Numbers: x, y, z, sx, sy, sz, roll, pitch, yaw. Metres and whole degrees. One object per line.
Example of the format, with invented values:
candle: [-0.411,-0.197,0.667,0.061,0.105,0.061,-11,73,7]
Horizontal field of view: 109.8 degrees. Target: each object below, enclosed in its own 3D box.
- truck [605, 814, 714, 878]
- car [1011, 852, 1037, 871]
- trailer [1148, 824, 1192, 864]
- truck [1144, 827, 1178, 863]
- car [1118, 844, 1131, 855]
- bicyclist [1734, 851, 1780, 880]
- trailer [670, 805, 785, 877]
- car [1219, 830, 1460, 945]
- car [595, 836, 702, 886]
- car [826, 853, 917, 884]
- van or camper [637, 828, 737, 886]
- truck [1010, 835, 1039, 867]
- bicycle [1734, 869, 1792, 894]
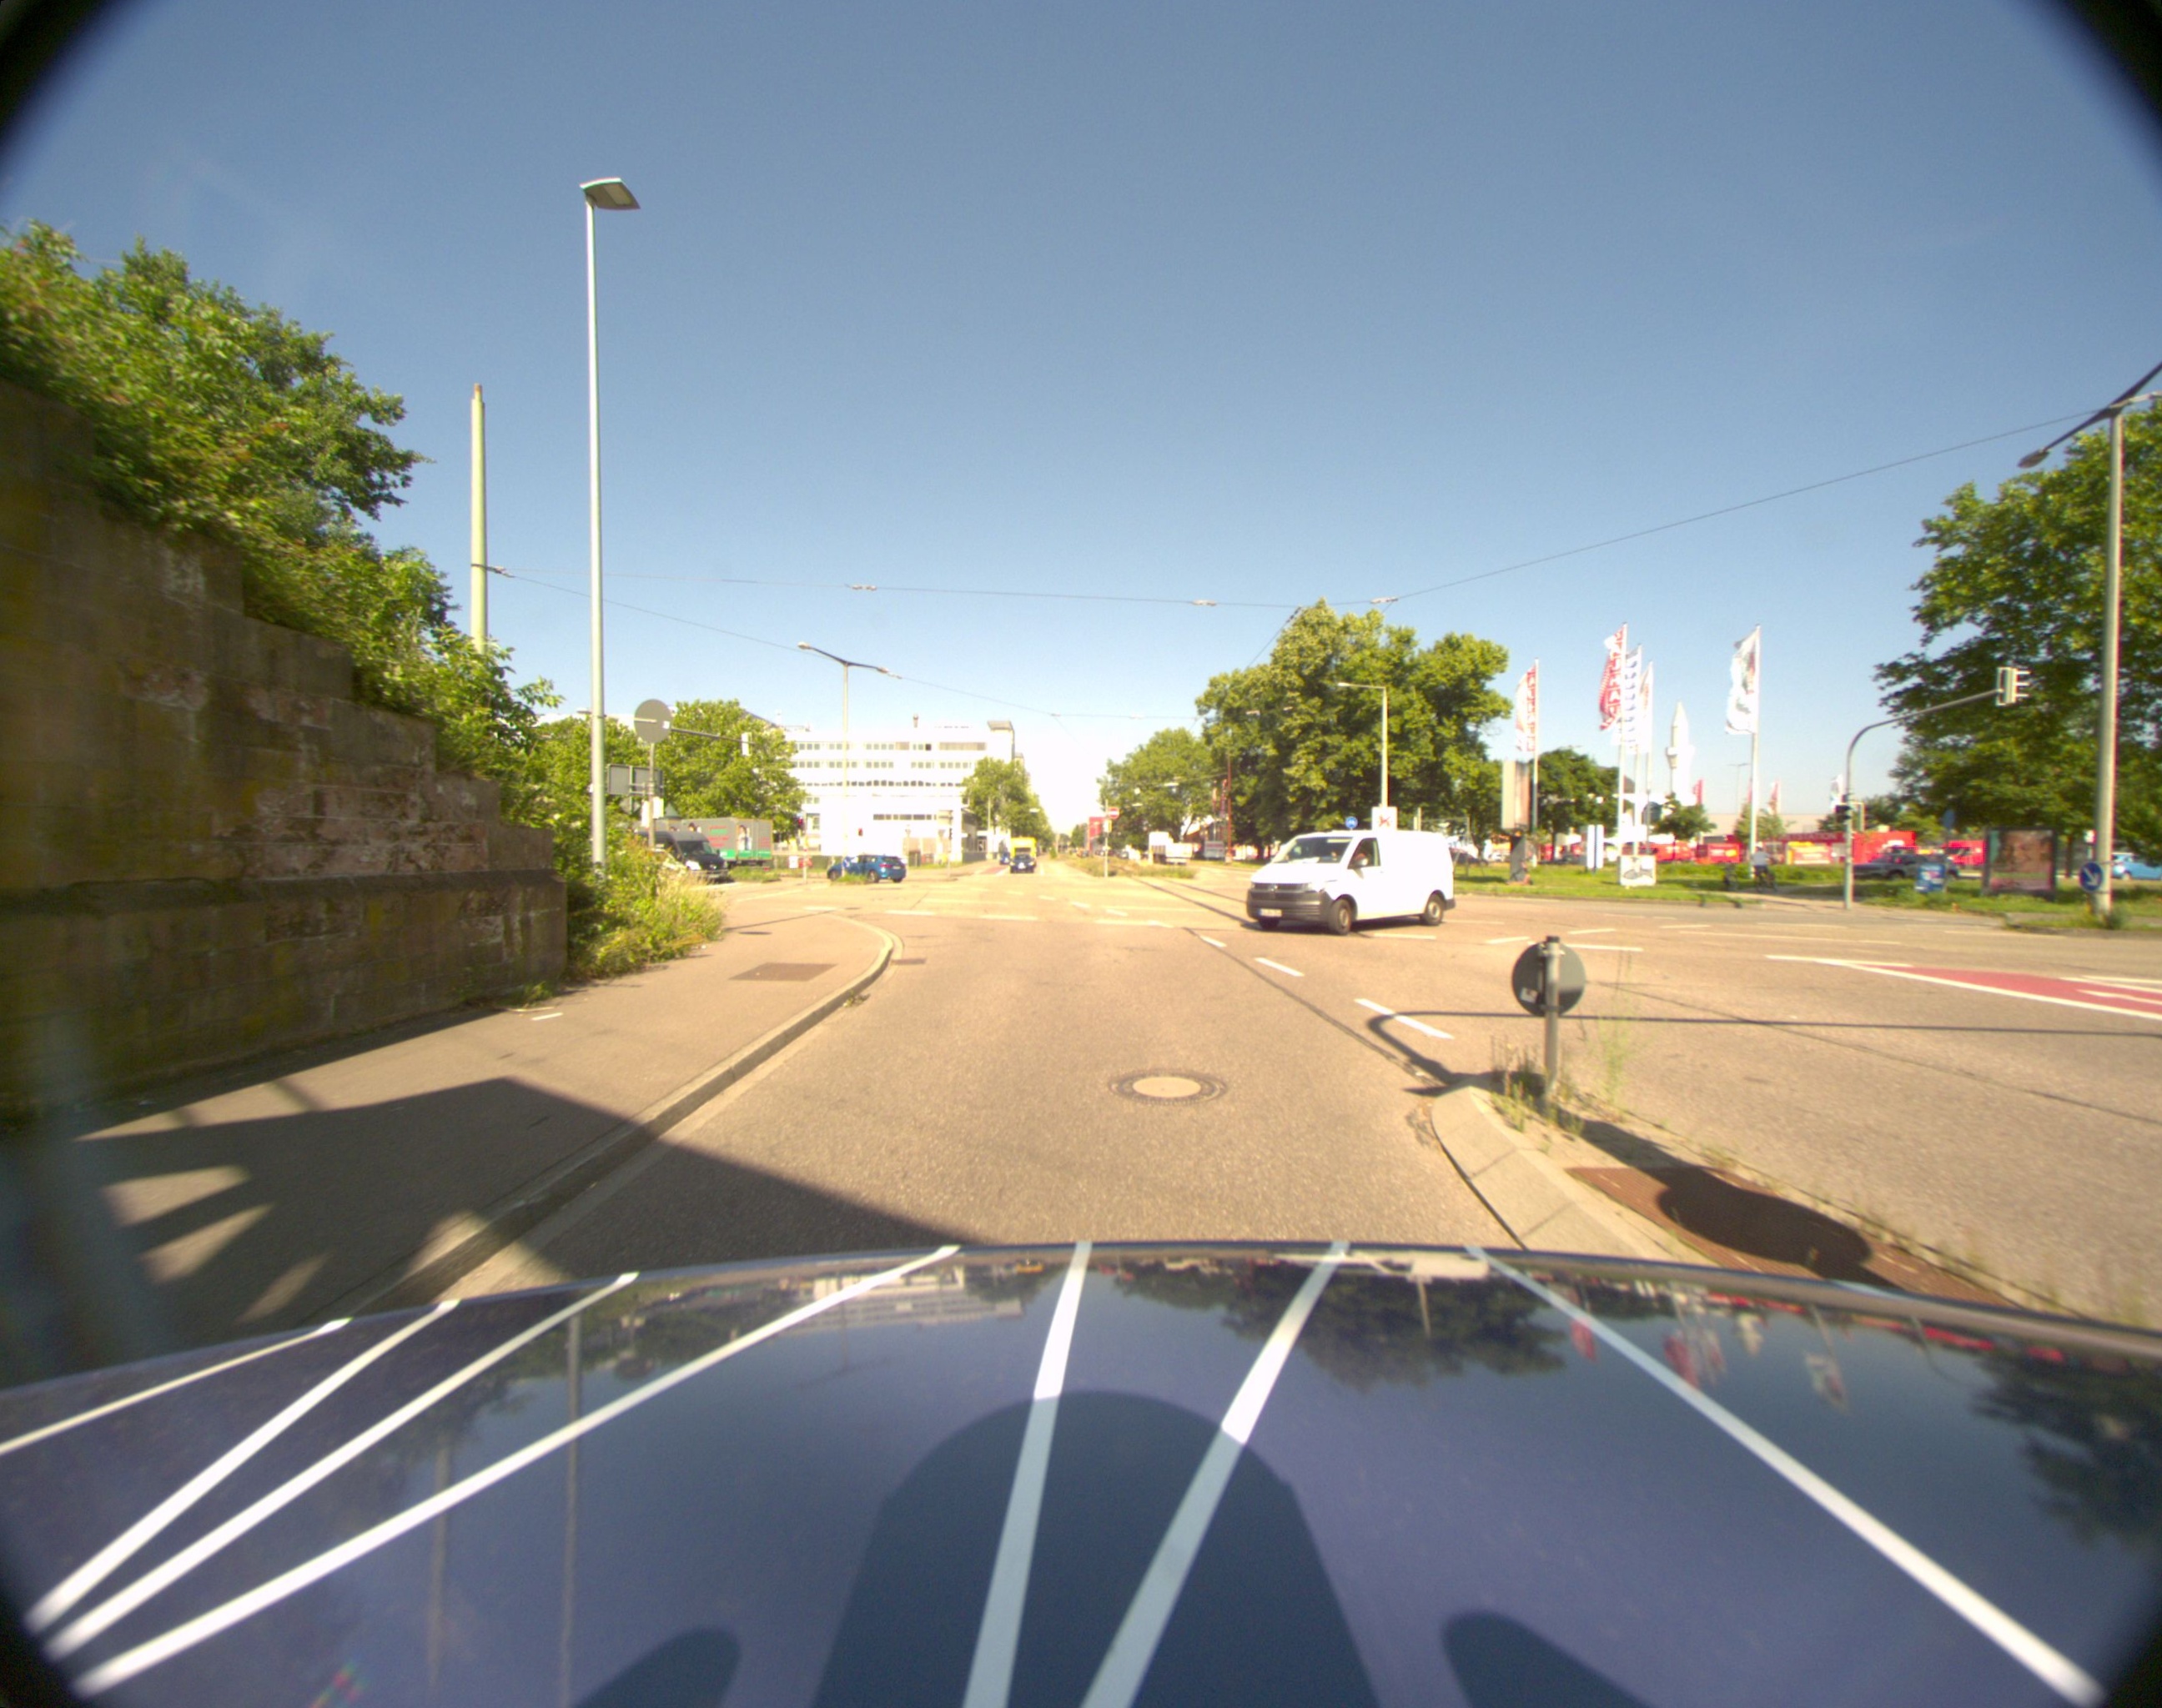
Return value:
truck: [-29.649,-0.449,53.290,8.630,4.021,2.946,-2,0,34]
car: [-4.222,0.523,56.203,1.823,1.346,3.998,0,1,-5]
trailer: [9.592,-0.983,83.371,2.940,3.938,12.138,-2,0,-1]
truck: [9.422,-0.974,90.222,2.940,3.966,8.153,-2,0,-1]
car: [8.074,-0.825,141.261,1.999,1.739,3.999,-2,0,-4]
bicyclist: [25.839,0.423,29.044,0.951,1.078,0.891,0,1,-9]
trailer: [-22.717,-0.726,48.679,7.780,4.201,2.946,-2,0,34]
car: [5.272,0.562,15.253,4.983,1.983,1.883,0,1,-33]
car: [-19.090,0.342,33.468,4.871,2.002,2.004,-2,0,33]
car: [-10.527,0.704,38.106,4.184,1.424,2.004,1,1,29]
van or camper: [-18.971,0.180,36.495,5.133,2.570,2.004,-2,0,34]
truck: [-5.421,-0.247,72.165,2.411,2.846,5.801,-2,0,-7]
bicycle: [25.910,1.039,28.856,1.877,0.917,0.546,0,1,-8]
